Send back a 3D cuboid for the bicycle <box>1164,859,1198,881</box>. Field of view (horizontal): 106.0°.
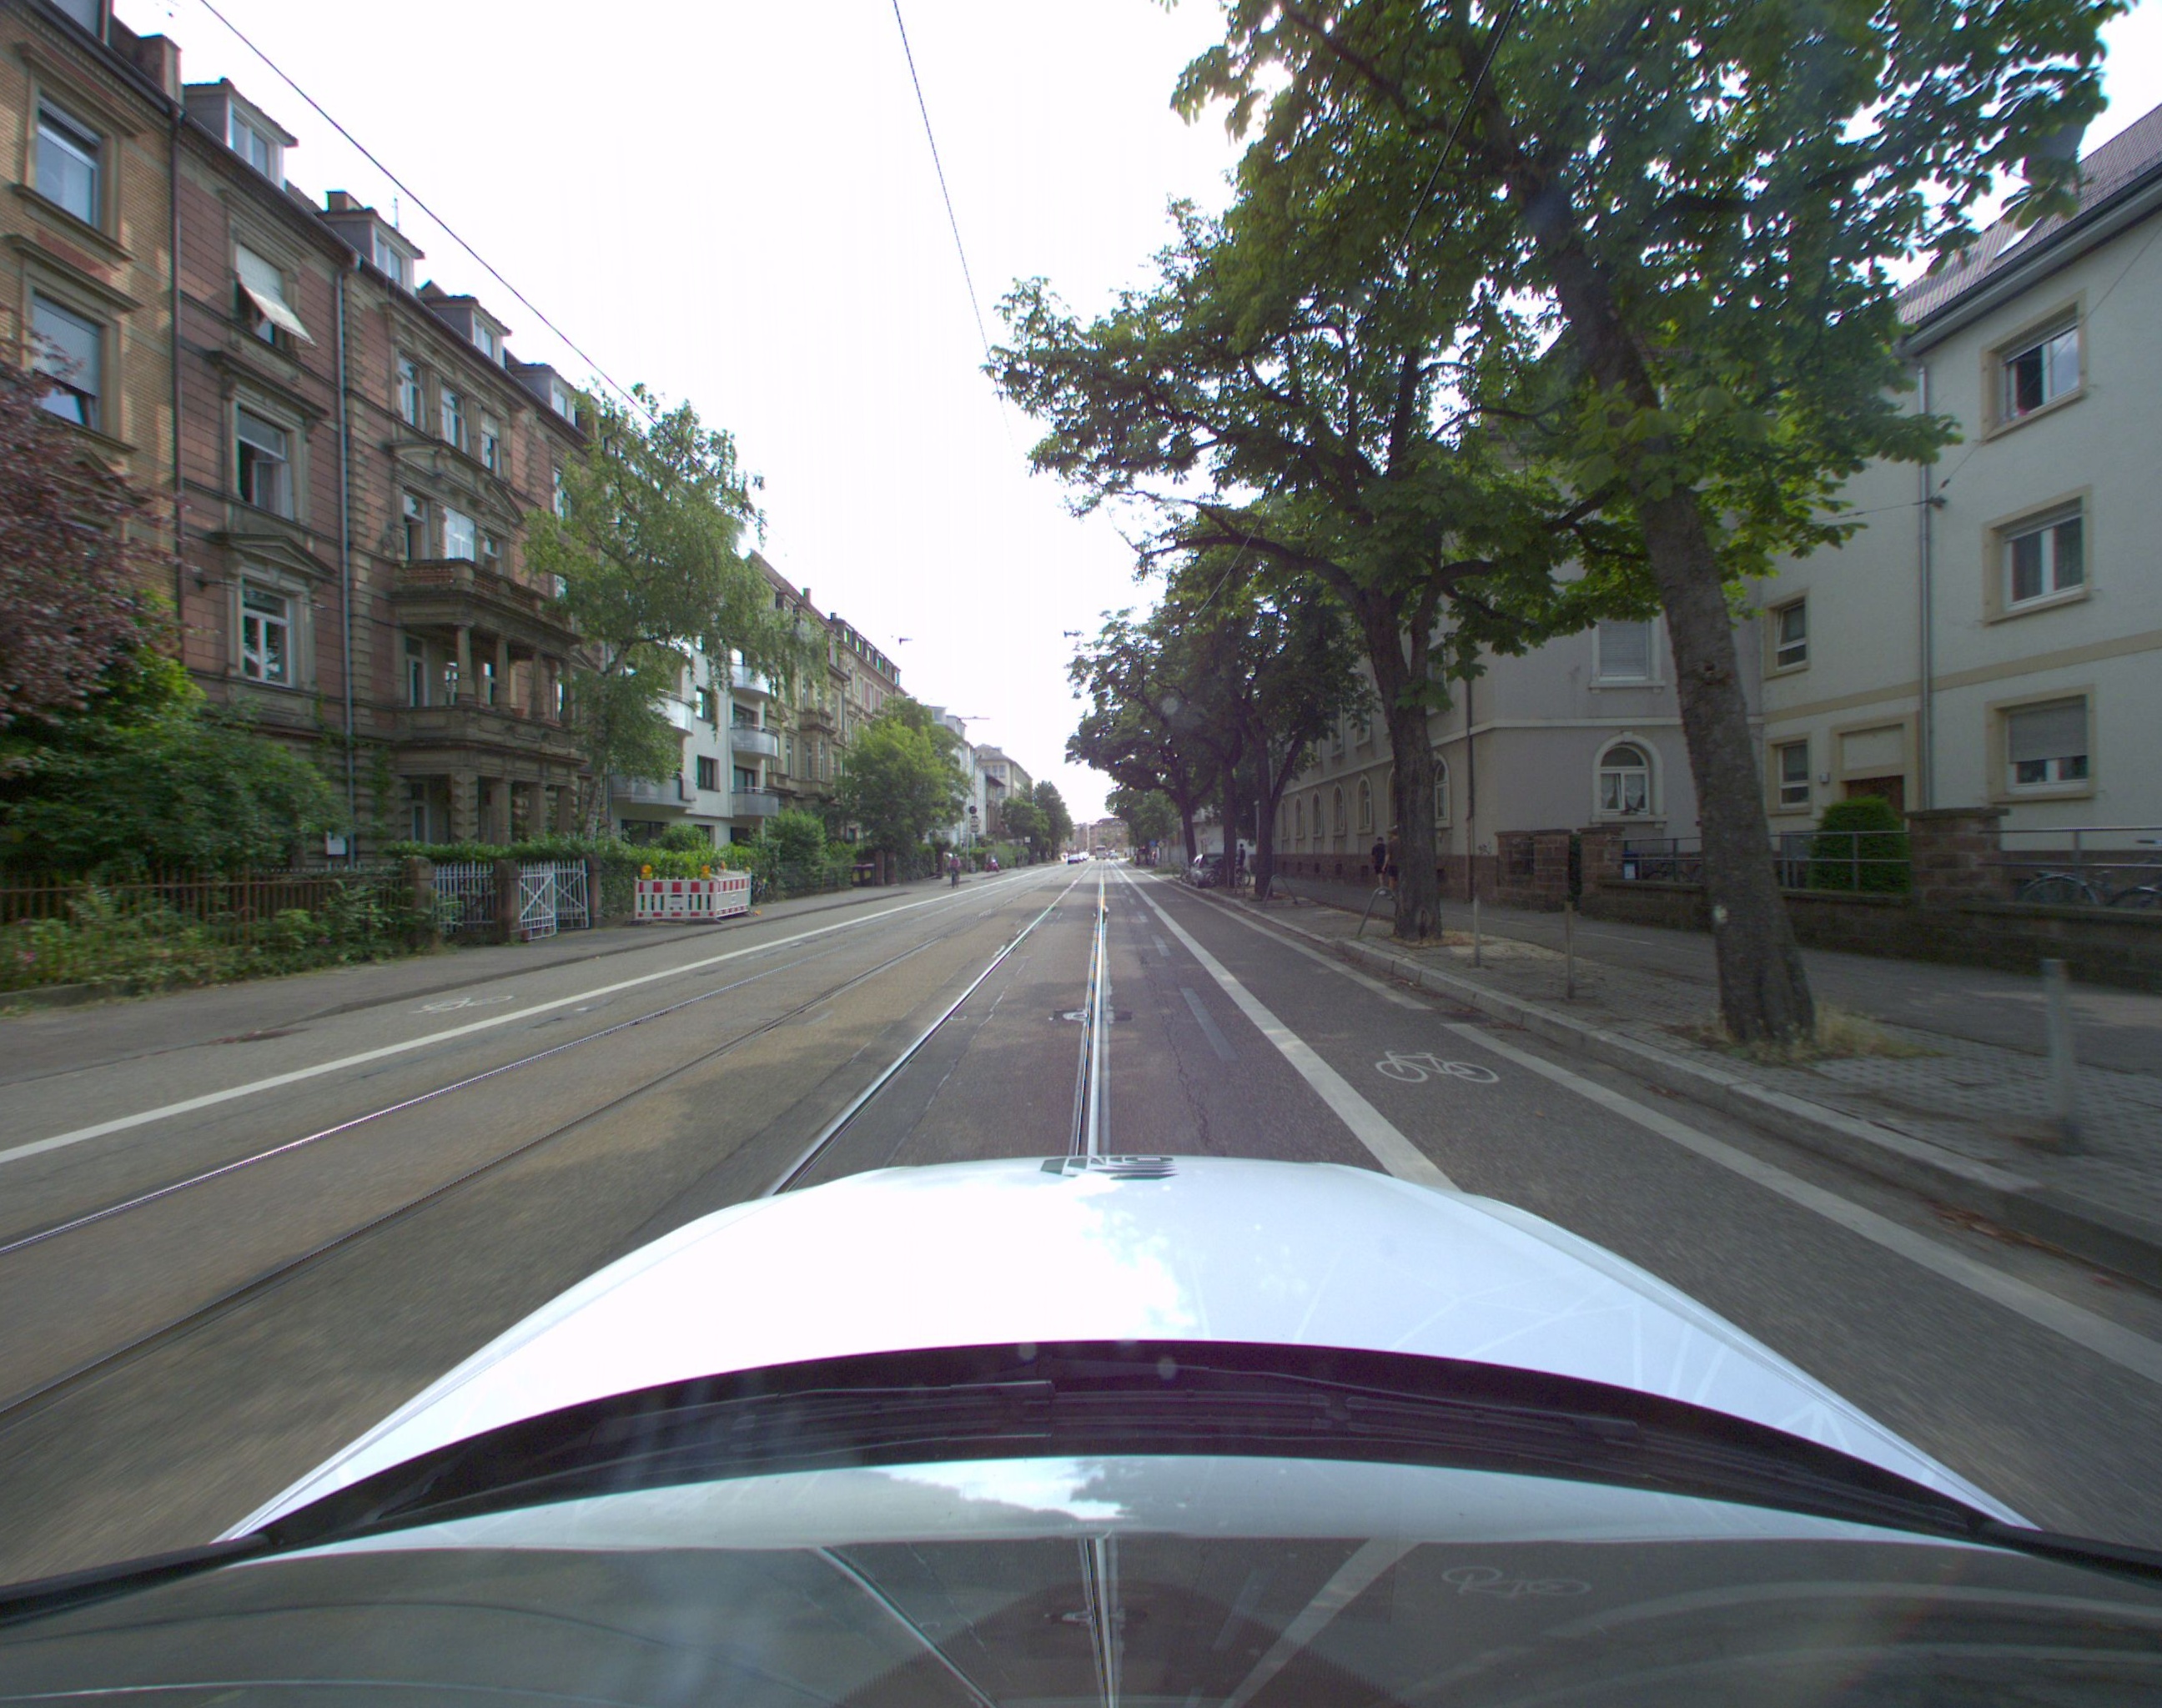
[{"bbox_3d":[4.980,0.800,40.586,1.639,1.070,0.349,-1,0,4],"label":"bicycle"}]

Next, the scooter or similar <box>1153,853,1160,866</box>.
[{"bbox_3d":[7.686,0.522,82.671,0.530,1.251,1.721,-2,0,2],"label":"scooter or similar"}]

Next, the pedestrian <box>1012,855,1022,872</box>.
[{"bbox_3d":[-7.346,1.100,93.929,1.056,1.917,0.829,-1,0,-2],"label":"pedestrian"}]

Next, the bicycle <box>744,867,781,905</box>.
[{"bbox_3d":[-10.230,1.015,26.239,0.410,1.137,1.820,-1,0,1],"label":"bicycle"}]

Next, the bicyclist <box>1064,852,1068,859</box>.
[{"bbox_3d":[-3.515,0.366,186.721,0.596,1.492,0.883,-7,0,4],"label":"bicyclist"}]

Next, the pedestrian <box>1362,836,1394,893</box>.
[{"bbox_3d":[8.751,0.304,24.047,0.578,1.639,0.976,-1,0,1],"label":"pedestrian"}]

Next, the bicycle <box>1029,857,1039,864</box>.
[{"bbox_3d":[-6.853,0.976,119.632,1.138,0.909,2.990,2,0,2],"label":"bicycle"}]

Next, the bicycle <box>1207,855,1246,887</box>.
[{"bbox_3d":[5.727,0.661,32.141,1.479,1.220,0.519,-1,-1,8],"label":"bicycle"}]

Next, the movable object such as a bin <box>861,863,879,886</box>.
[{"bbox_3d":[-10.400,0.996,40.175,0.665,1.107,0.733,-1,0,-2],"label":"movable object such as a bin"}]

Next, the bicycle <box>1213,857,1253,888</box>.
[{"bbox_3d":[5.875,0.703,31.526,1.479,1.153,0.519,-1,0,8],"label":"bicycle"}]

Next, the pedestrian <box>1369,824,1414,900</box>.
[{"bbox_3d":[8.034,0.197,21.091,0.751,1.889,0.886,-3,0,1],"label":"pedestrian"}]

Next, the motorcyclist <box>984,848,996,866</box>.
[{"bbox_3d":[-8.673,0.258,77.783,0.912,1.714,0.744,-1,0,12],"label":"motorcyclist"}]

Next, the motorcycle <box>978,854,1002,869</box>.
[{"bbox_3d":[-8.684,0.695,77.784,2.068,1.360,0.744,-1,0,12],"label":"motorcycle"}]

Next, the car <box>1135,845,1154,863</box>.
[{"bbox_3d":[7.339,-0.018,94.930,1.888,1.941,4.952,-2,0,1],"label":"car"}]

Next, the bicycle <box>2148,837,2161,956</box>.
[{"bbox_3d":[11.078,0.414,6.926,0.650,1.191,2.600,0,-1,2],"label":"bicycle"}]

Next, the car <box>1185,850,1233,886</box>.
[{"bbox_3d":[5.652,0.583,36.258,1.579,1.445,3.899,-1,0,1],"label":"car"}]

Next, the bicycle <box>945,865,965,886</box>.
[{"bbox_3d":[-6.211,1.047,40.198,0.567,0.989,1.920,-1,0,4],"label":"bicycle"}]

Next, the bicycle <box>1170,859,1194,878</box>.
[{"bbox_3d":[5.685,0.804,45.839,1.263,1.066,0.478,-1,0,0],"label":"bicycle"}]

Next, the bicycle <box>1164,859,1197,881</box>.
[{"bbox_3d":[4.992,0.799,40.955,1.639,1.070,0.349,-1,0,5],"label":"bicycle"}]

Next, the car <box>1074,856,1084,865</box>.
[{"bbox_3d":[-0.313,1.164,144.769,1.622,1.407,4.131,-1,0,2],"label":"car"}]

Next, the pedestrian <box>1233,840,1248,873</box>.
[{"bbox_3d":[9.000,0.119,45.880,0.615,1.833,1.030,-1,0,0],"label":"pedestrian"}]

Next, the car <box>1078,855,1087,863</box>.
[{"bbox_3d":[0.293,0.930,166.567,1.721,1.540,4.277,-2,0,1],"label":"car"}]

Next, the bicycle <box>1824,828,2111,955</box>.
[{"bbox_3d":[10.409,0.401,9.775,0.650,1.319,2.600,0,-1,2],"label":"bicycle"}]

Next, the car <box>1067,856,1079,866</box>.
[{"bbox_3d":[-1.235,1.142,129.850,1.588,1.440,3.939,-3,0,3],"label":"car"}]

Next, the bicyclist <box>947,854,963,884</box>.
[{"bbox_3d":[-6.217,0.731,40.239,0.562,1.425,0.943,-1,0,3],"label":"bicyclist"}]

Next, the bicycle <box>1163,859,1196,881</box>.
[{"bbox_3d":[5.020,0.805,41.392,1.639,1.070,0.349,-1,0,5],"label":"bicycle"}]

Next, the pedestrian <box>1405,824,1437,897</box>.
[{"bbox_3d":[8.779,0.168,21.032,0.502,1.852,0.687,-1,0,1],"label":"pedestrian"}]

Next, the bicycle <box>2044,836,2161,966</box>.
[{"bbox_3d":[10.287,0.429,7.148,0.650,1.191,2.600,0,-1,2],"label":"bicycle"}]

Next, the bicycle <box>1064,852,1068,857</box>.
[{"bbox_3d":[-3.533,0.184,186.773,0.600,1.097,2.025,-7,0,4],"label":"bicycle"}]

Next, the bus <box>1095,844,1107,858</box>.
[{"bbox_3d":[4.966,-0.572,202.393,2.907,3.328,12.207,0,0,1],"label":"bus"}]

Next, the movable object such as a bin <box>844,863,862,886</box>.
[{"bbox_3d":[-11.282,1.016,40.244,0.665,1.107,0.733,-1,0,-2],"label":"movable object such as a bin"}]

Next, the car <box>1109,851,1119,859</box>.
[{"bbox_3d":[7.442,0.165,183.765,2.123,1.684,4.102,0,1,0],"label":"car"}]
